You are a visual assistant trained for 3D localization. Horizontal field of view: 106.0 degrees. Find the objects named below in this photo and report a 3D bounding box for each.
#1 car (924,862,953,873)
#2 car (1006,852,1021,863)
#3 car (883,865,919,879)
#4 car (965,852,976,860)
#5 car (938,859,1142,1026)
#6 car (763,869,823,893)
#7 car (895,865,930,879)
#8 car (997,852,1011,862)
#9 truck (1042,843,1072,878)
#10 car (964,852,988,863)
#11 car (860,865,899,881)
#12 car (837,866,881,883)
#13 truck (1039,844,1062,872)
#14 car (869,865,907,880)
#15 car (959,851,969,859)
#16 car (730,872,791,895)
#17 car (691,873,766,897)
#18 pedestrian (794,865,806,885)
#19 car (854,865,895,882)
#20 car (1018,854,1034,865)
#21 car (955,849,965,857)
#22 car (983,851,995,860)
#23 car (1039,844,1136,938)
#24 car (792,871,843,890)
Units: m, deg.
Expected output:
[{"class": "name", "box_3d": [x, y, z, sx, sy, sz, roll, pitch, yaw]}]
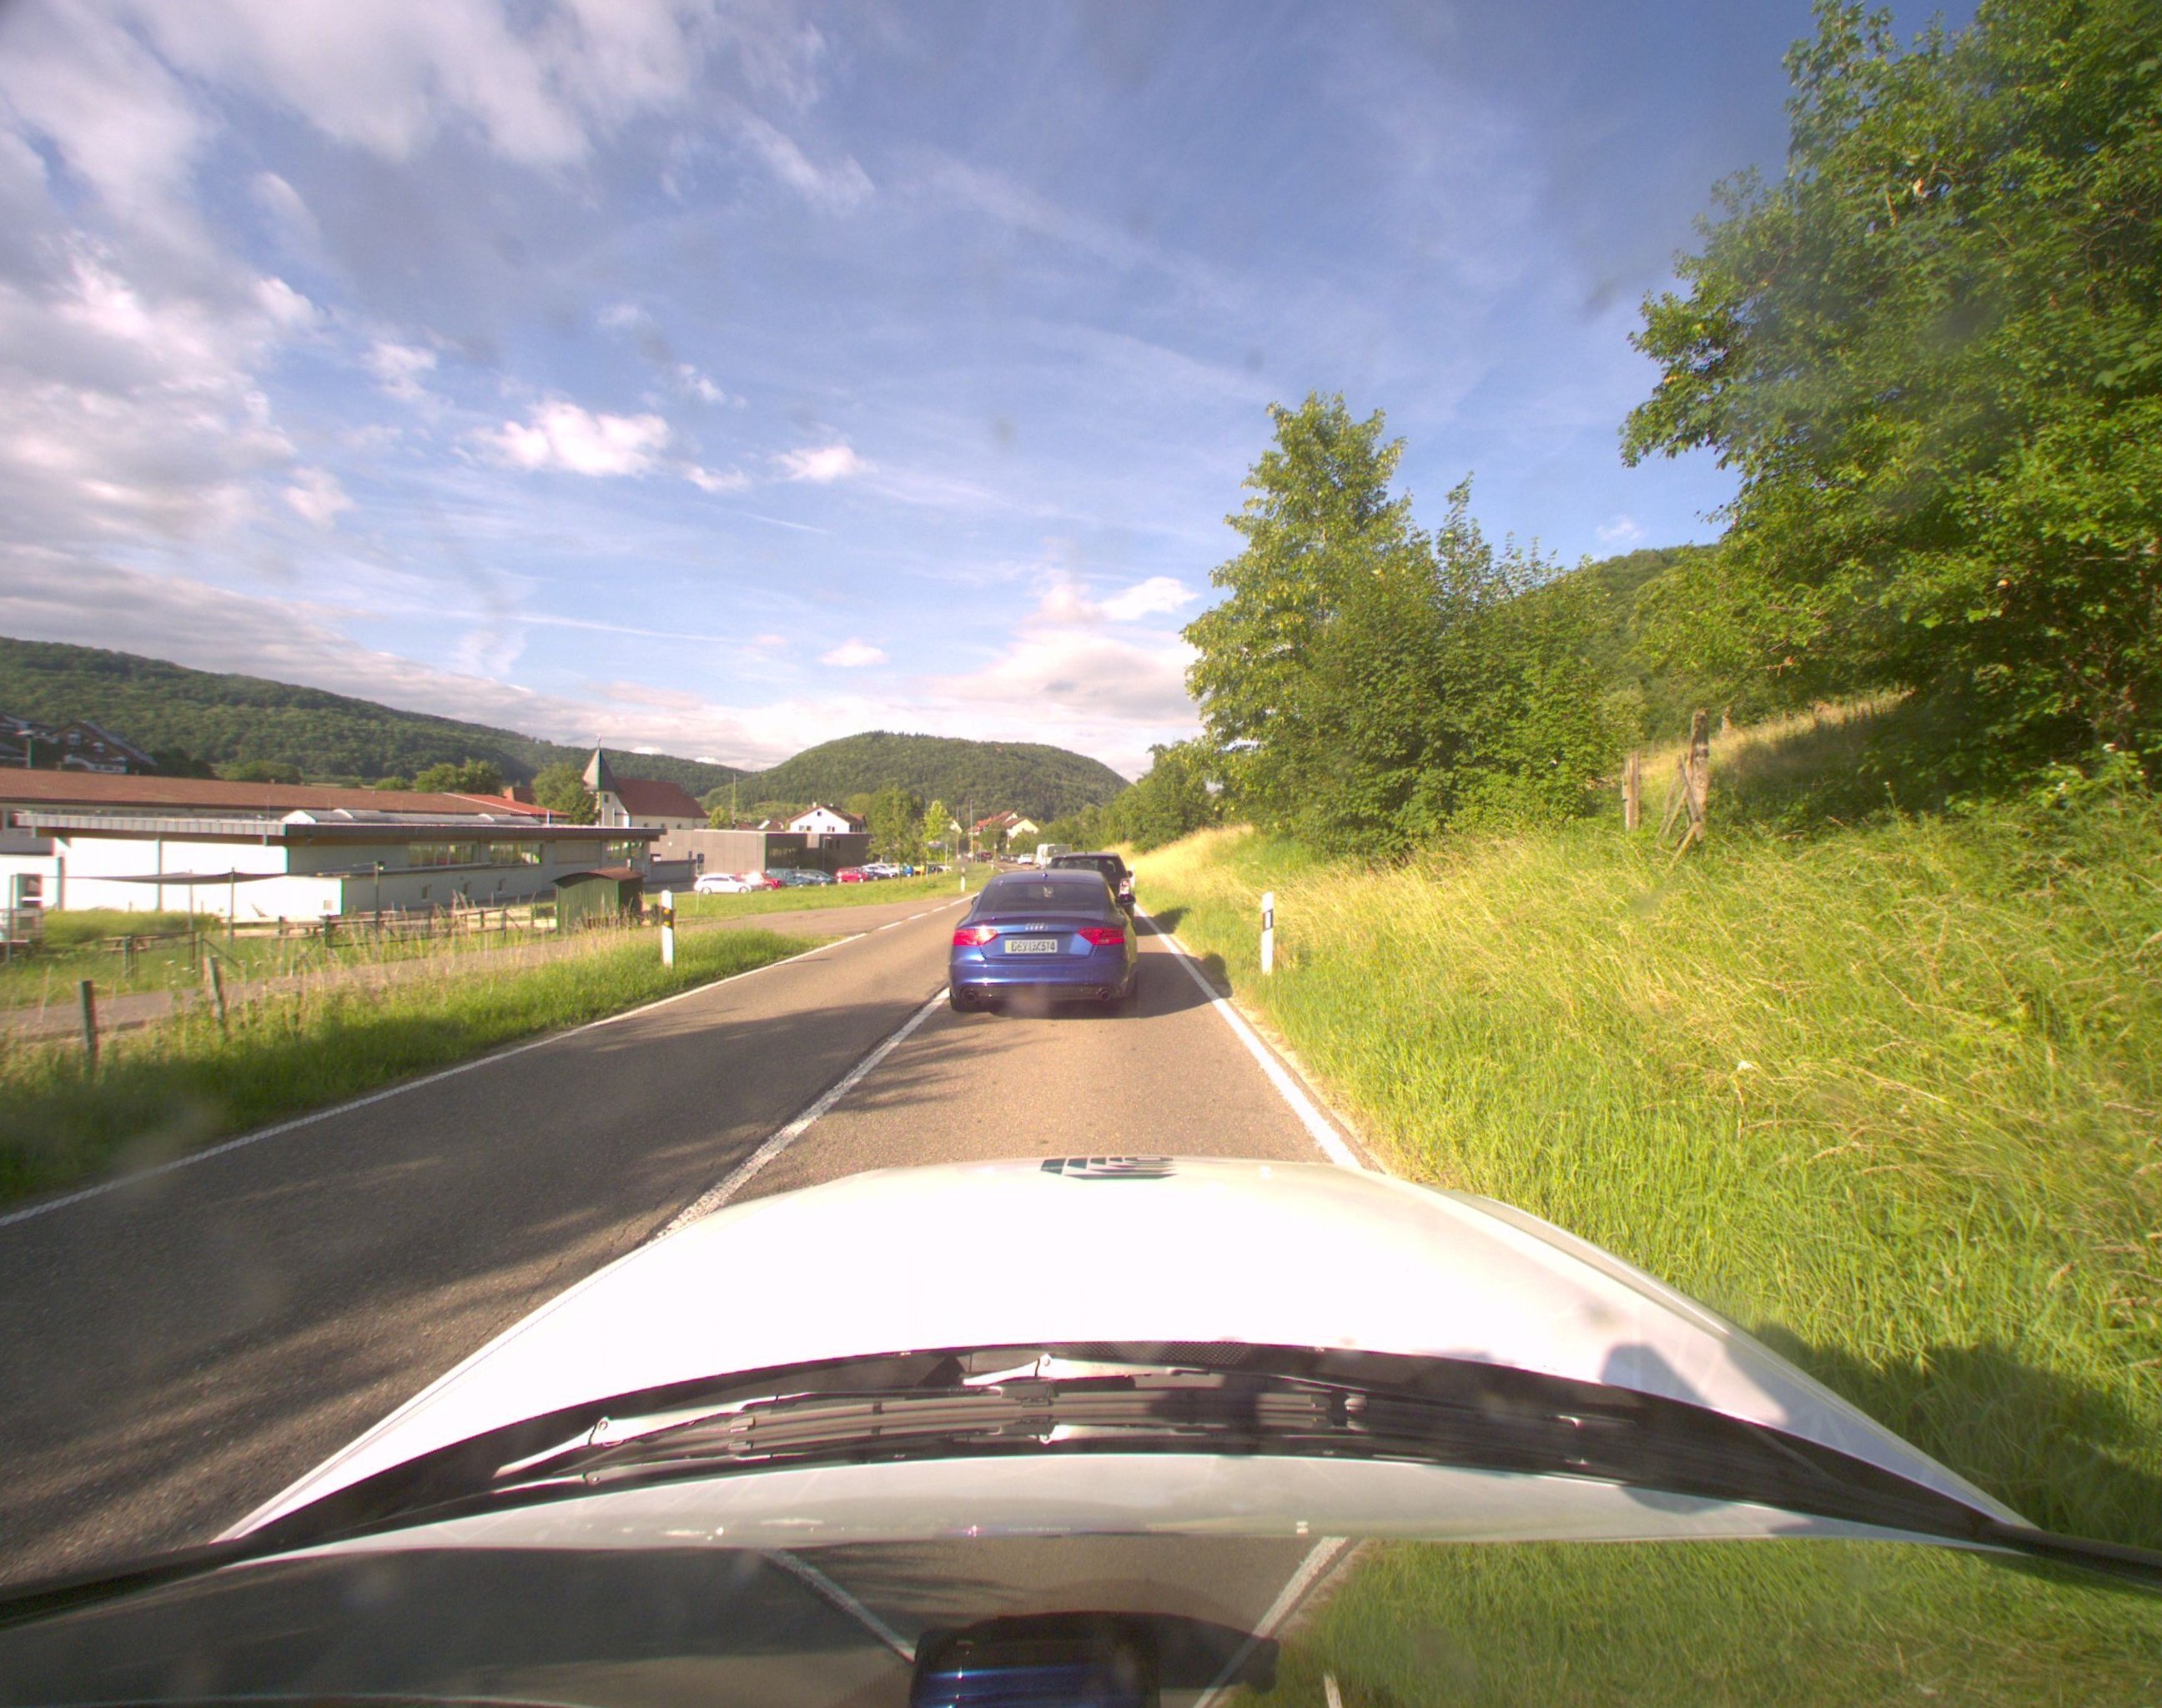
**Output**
[{"class": "car", "box_3d": [-20.812, 1.942, 119.254, 3.975, 1.579, 1.752, 0, -1, -1]}, {"class": "car", "box_3d": [-10.542, 0.606, 126.819, 1.847, 1.712, 3.982, 0, -1, -13]}, {"class": "car", "box_3d": [-22.557, 2.243, 102.041, 3.975, 1.711, 1.999, 0, -1, -1]}, {"class": "car", "box_3d": [-24.458, 0.461, 179.789, 1.849, 1.712, 3.978, 0, -1, -16]}, {"class": "car", "box_3d": [-0.264, 0.778, 8.932, 1.747, 1.430, 3.849, 0, -1, 3]}, {"class": "car", "box_3d": [-24.705, 2.317, 69.994, 4.393, 2.008, 1.999, 0, -1, -1]}, {"class": "car", "box_3d": [-21.642, 2.260, 104.696, 3.975, 1.711, 1.999, 0, -1, -1]}, {"class": "car", "box_3d": [-13.229, 0.576, 139.585, 1.847, 1.712, 3.982, 0, -1, -13]}, {"class": "truck", "box_3d": [-1.895, 0.521, 64.306, 2.224, 2.570, 6.099, 0, -1, -2]}, {"class": "car", "box_3d": [-17.534, 0.574, 135.712, 3.950, 1.712, 1.862, -1, -1, 44]}, {"class": "car", "box_3d": [-23.008, 2.164, 92.975, 3.975, 1.711, 1.999, 0, -1, -1]}, {"class": "car", "box_3d": [-23.093, 2.090, 84.766, 3.975, 1.711, 1.999, 0, -1, -1]}, {"class": "truck", "box_3d": [-3.007, 0.400, 80.703, 2.224, 2.570, 6.702, 0, -1, -2]}, {"class": "car", "box_3d": [-22.802, 2.192, 96.256, 3.975, 1.711, 1.999, 0, -1, -1]}, {"class": "car", "box_3d": [-26.935, 0.219, 187.855, 1.849, 1.712, 3.978, 0, -1, -16]}, {"class": "car", "box_3d": [-25.204, 2.336, 64.191, 3.975, 1.711, 1.999, 0, -1, -1]}, {"class": "car", "box_3d": [-26.428, 2.319, 61.210, 4.717, 1.711, 1.999, 0, -1, -1]}, {"class": "pedestrian", "box_3d": [-29.238, 2.195, 84.752, 0.822, 2.014, 0.973, 0, -1, 1]}, {"class": "car", "box_3d": [-22.650, 2.128, 89.307, 3.975, 1.711, 1.999, 0, -1, -1]}, {"class": "car", "box_3d": [-7.562, 0.807, 112.447, 1.845, 1.482, 3.987, 0, -1, -9]}, {"class": "car", "box_3d": [-29.162, -0.239, 195.888, 1.849, 1.712, 3.978, 0, -1, -16]}, {"class": "car", "box_3d": [-18.201, 0.362, 160.359, 1.848, 1.712, 3.980, 0, -1, -15]}, {"class": "car", "box_3d": [0.210, 0.679, 16.592, 1.747, 1.681, 3.849, 0, -1, 3]}, {"class": "car", "box_3d": [-24.090, 2.421, 74.484, 3.975, 1.711, 1.999, 0, -1, -1]}]
